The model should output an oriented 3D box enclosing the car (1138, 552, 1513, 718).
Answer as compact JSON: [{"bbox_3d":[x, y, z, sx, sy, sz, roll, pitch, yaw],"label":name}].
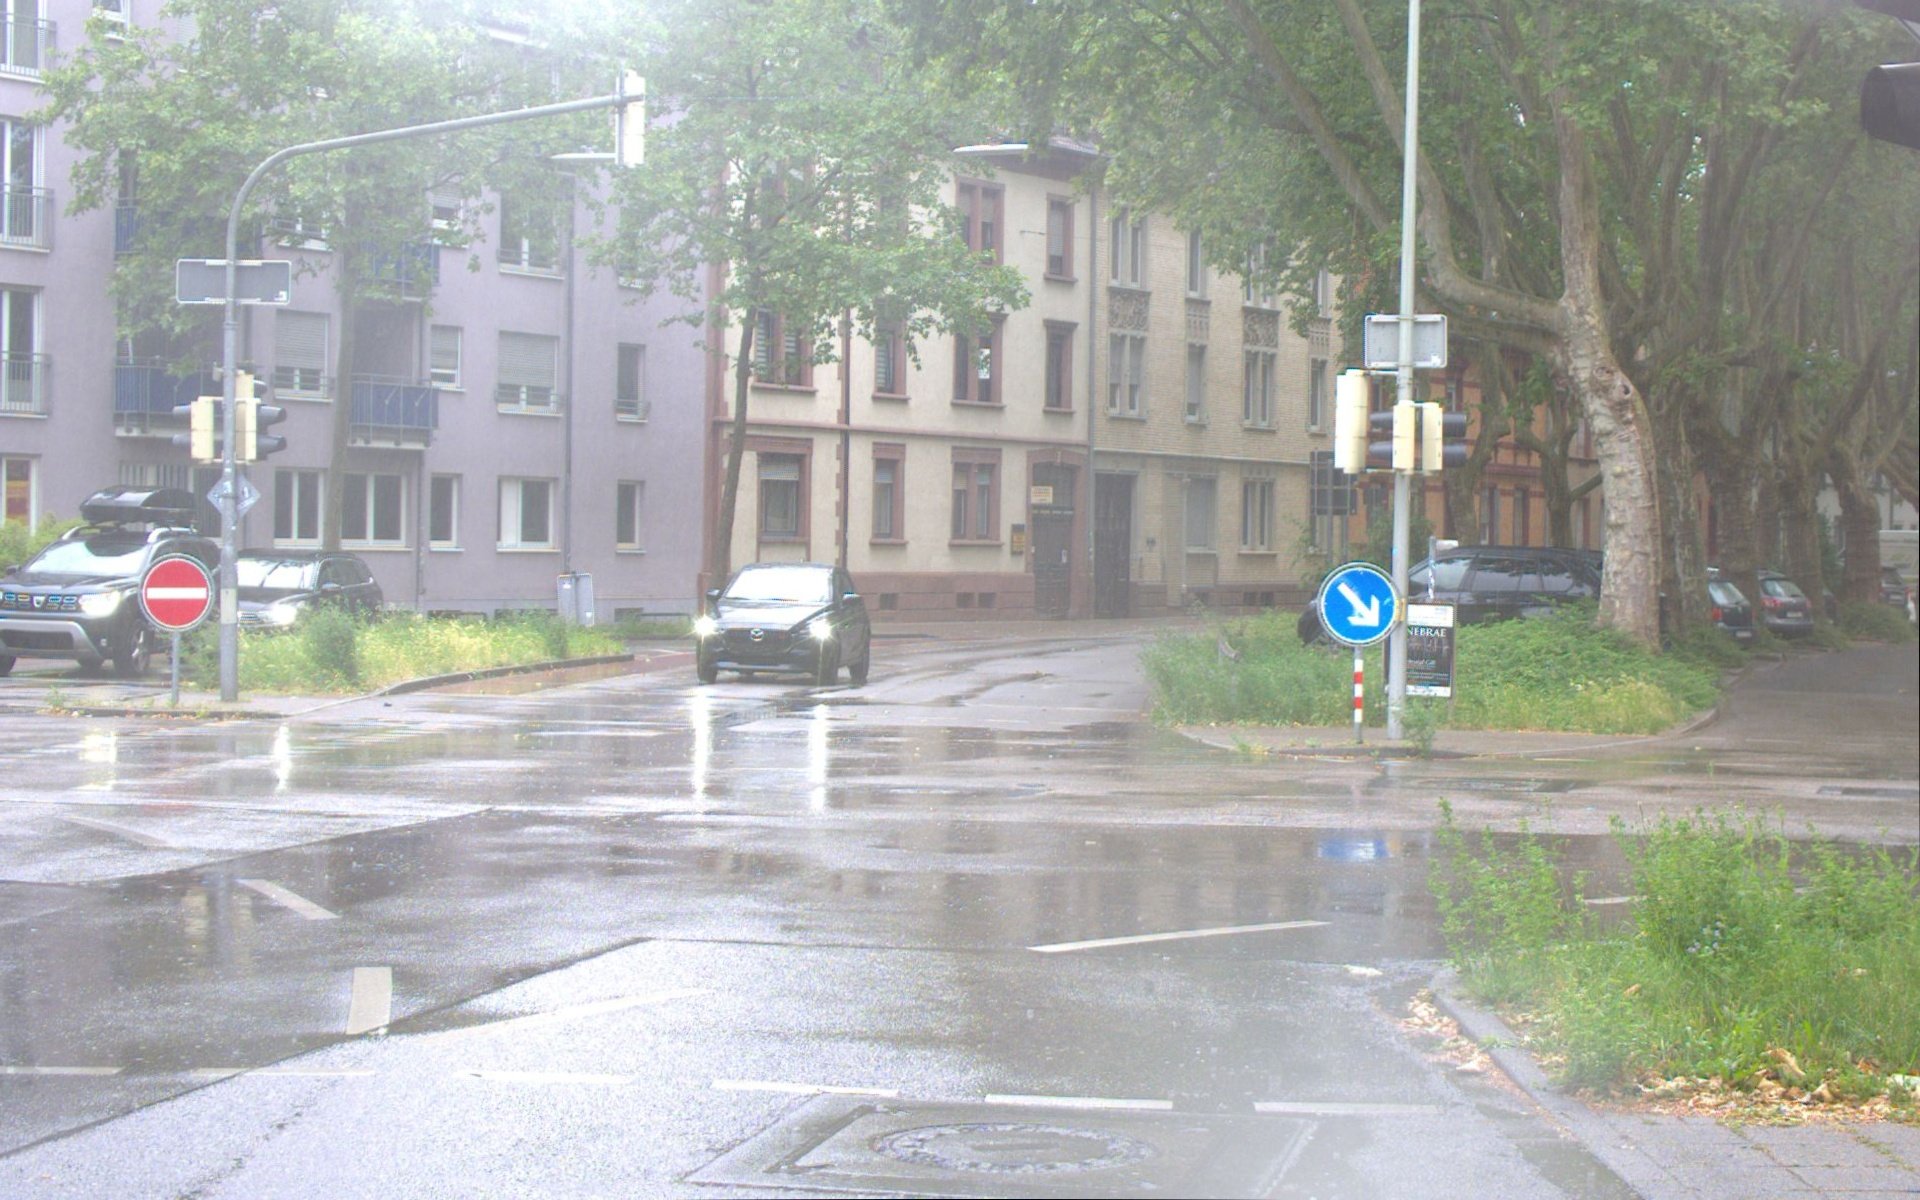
[{"bbox_3d":[3.525,0.327,32.988,3.480,1.518,1.519,-1,1,9],"label":"car"}]

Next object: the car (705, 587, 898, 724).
[{"bbox_3d":[-1.913,0.654,42.518,1.603,1.547,3.558,0,1,10],"label":"car"}]

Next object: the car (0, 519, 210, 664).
[{"bbox_3d":[-9.872,-0.126,38.796,1.725,1.547,3.559,-1,1,5],"label":"car"}]

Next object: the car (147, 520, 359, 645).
[{"bbox_3d":[-9.175,-0.259,44.888,1.725,1.547,3.559,-1,1,5],"label":"car"}]

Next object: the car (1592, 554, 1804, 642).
[{"bbox_3d":[14.019,-0.050,65.298,3.611,1.612,1.679,0,1,28],"label":"car"}]
